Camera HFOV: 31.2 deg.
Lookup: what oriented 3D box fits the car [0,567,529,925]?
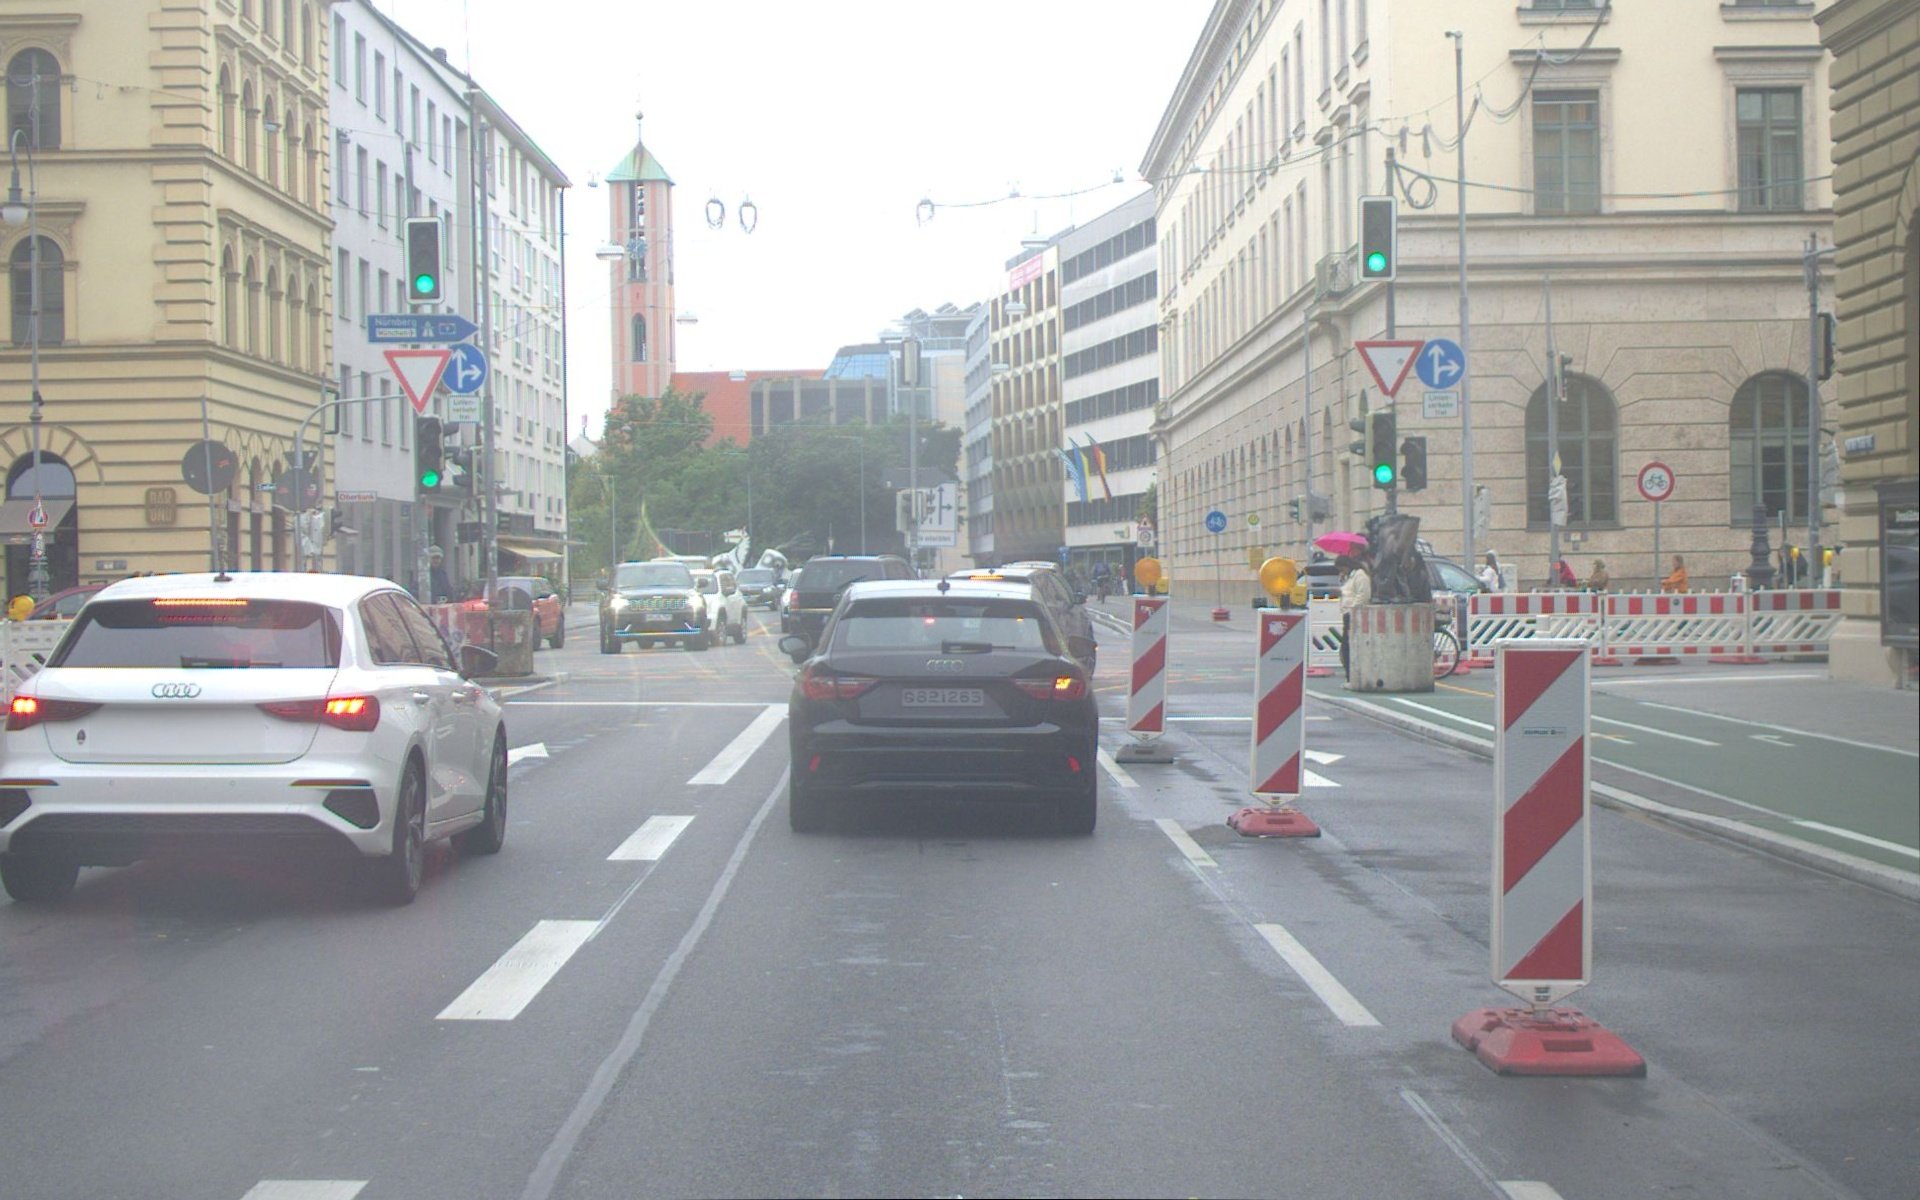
[{"bbox_3d":[-3.221,0.574,16.223,1.813,1.420,4.452,1,1,0],"label":"car"}]

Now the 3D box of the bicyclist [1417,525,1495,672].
[{"bbox_3d":[6.323,-0.026,43.818,0.566,1.847,0.799,0,1,-40],"label":"bicyclist"}]

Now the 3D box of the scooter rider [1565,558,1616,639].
[{"bbox_3d":[12.688,-0.025,69.191,0.932,1.617,0.592,0,1,1],"label":"scooter rider"}]

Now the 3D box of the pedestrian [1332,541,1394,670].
[{"bbox_3d":[4.962,0.064,42.332,0.702,1.562,0.541,0,1,2],"label":"pedestrian"}]

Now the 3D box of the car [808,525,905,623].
[{"bbox_3d":[-2.192,-0.569,73.739,1.993,2.007,4.000,-1,1,-1],"label":"car"}]

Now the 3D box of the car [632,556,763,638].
[{"bbox_3d":[-5.596,-0.092,73.776,1.794,1.672,4.231,-1,1,10],"label":"car"}]

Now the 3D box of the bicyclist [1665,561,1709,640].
[{"bbox_3d":[14.863,0.001,70.261,0.744,1.609,0.795,0,1,2],"label":"bicyclist"}]

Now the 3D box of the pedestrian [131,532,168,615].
[{"bbox_3d":[-17.514,-0.574,74.335,0.733,1.766,0.739,0,1,-10],"label":"pedestrian"}]

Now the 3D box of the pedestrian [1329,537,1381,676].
[{"bbox_3d":[4.631,0.076,40.323,0.531,1.614,0.674,0,1,2],"label":"pedestrian"}]

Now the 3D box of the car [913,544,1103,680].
[{"bbox_3d":[0.652,0.118,42.998,1.769,1.611,3.998,0,1,10],"label":"car"}]

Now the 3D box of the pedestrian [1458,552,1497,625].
[{"bbox_3d":[11.154,-0.254,74.106,0.817,1.552,0.667,0,1,7],"label":"pedestrian"}]

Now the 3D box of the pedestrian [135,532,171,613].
[{"bbox_3d":[-17.626,-0.601,75.077,0.733,1.766,0.739,0,1,-10],"label":"pedestrian"}]

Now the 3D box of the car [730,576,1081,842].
[{"bbox_3d":[-0.313,0.569,20.286,1.863,1.383,4.000,0,1,-1],"label":"car"}]

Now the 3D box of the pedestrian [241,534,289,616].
[{"bbox_3d":[-15.218,-0.549,75.326,0.734,1.766,0.760,1,1,21],"label":"pedestrian"}]

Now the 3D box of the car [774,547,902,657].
[{"bbox_3d":[-1.836,0.000,52.623,1.865,1.596,3.851,-1,1,-1],"label":"car"}]

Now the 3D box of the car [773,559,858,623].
[{"bbox_3d":[-3.579,-0.254,85.977,1.993,1.519,4.233,-1,1,-1],"label":"car"}]

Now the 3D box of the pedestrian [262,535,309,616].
[{"bbox_3d":[-14.923,-0.543,76.046,0.734,1.766,0.738,1,1,21],"label":"pedestrian"}]

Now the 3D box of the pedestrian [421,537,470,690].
[{"bbox_3d":[-5.951,0.148,39.746,0.512,1.737,1.043,-1,1,-10],"label":"pedestrian"}]

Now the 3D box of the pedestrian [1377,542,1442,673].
[{"bbox_3d":[5.420,0.087,41.469,0.702,1.562,0.682,0,1,2],"label":"pedestrian"}]

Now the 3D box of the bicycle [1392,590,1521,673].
[{"bbox_3d":[6.318,0.392,43.822,0.585,1.008,1.656,0,1,-40],"label":"bicycle"}]

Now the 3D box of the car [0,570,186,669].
[{"bbox_3d":[-16.670,0.354,64.959,3.739,1.792,1.868,-1,0,-21],"label":"car"}]
